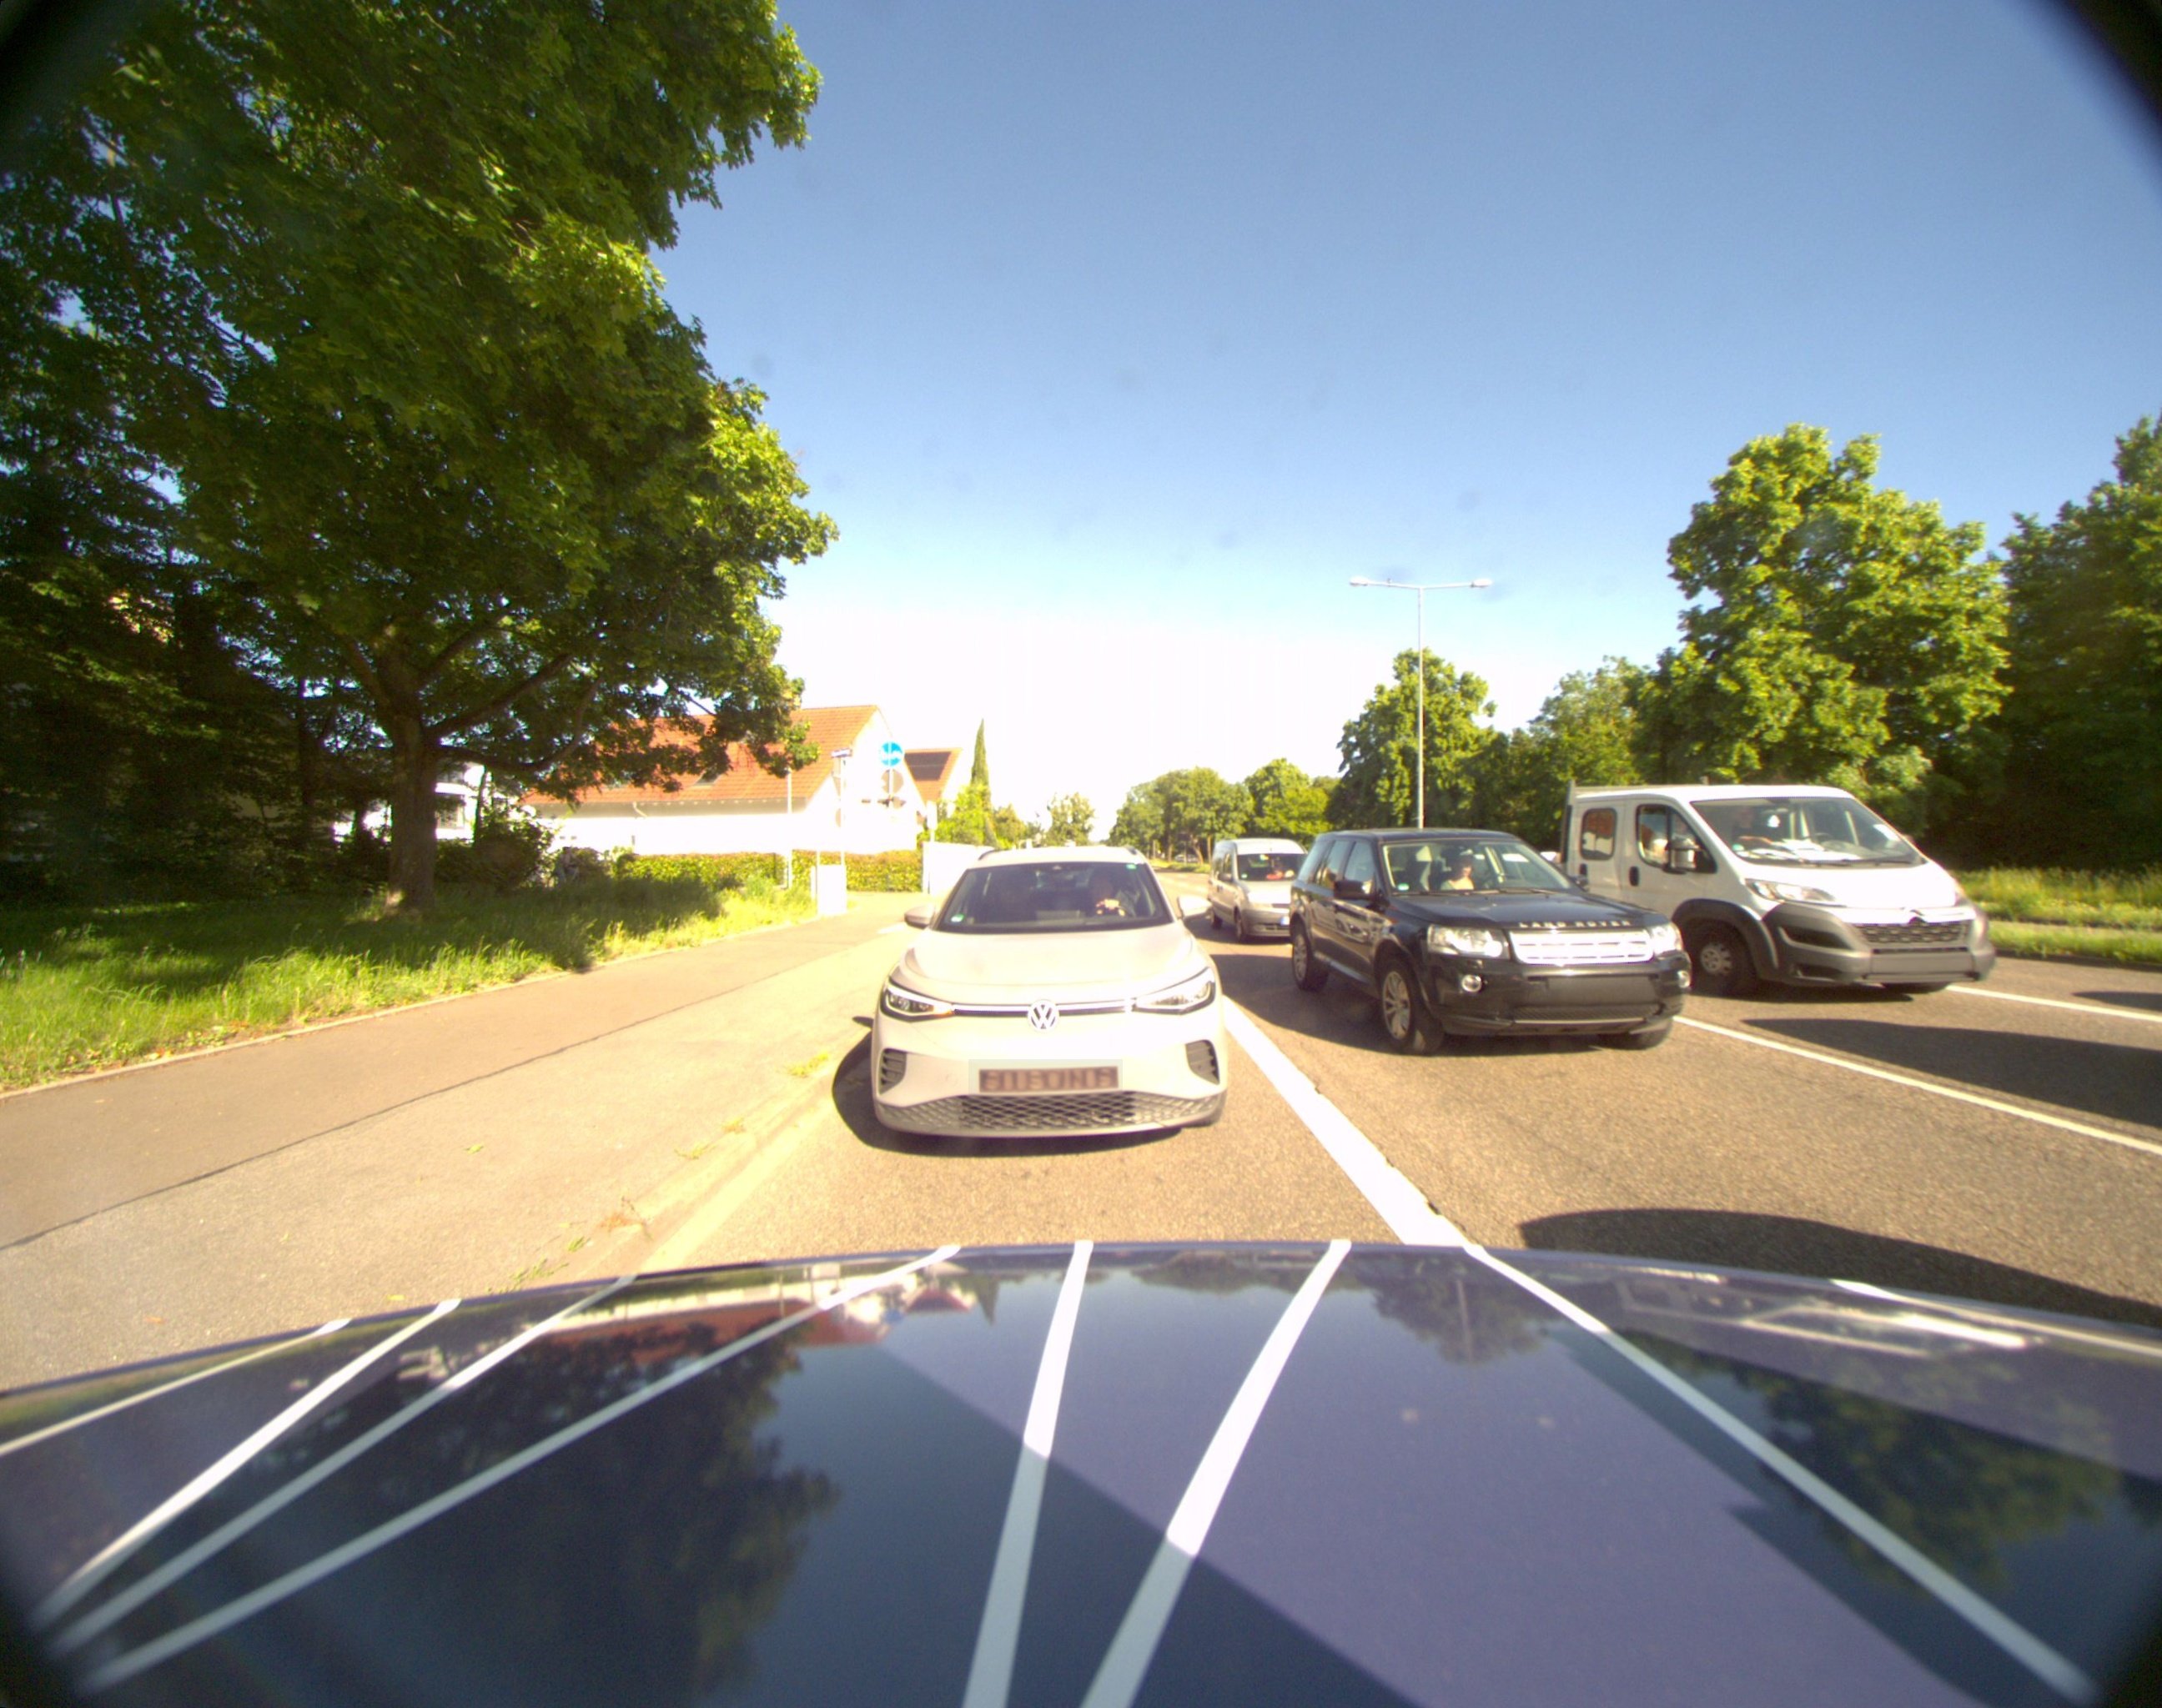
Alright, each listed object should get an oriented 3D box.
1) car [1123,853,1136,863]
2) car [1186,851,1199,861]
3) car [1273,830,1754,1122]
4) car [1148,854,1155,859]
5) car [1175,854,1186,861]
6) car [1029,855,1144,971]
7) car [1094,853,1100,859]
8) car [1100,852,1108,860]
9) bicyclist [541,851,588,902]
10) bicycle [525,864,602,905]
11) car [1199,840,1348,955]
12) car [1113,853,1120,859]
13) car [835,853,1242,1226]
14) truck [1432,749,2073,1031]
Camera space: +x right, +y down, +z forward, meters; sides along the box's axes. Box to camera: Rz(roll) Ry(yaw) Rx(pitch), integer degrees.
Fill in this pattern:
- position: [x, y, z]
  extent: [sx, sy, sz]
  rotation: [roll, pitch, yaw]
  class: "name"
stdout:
- position: [7.585, 0.580, 118.785]
  extent: [1.704, 1.466, 3.931]
  rotation: [-1, 0, 0]
  class: "car"
- position: [20.311, 0.368, 138.405]
  extent: [1.792, 1.674, 4.000]
  rotation: [0, 0, 1]
  class: "car"
- position: [3.168, 0.714, 6.777]
  extent: [1.816, 1.721, 4.386]
  rotation: [-2, 1, 1]
  class: "car"
- position: [22.032, 0.847, 236.378]
  extent: [1.792, 1.409, 4.000]
  rotation: [0, 0, 1]
  class: "car"
- position: [20.442, 0.669, 156.632]
  extent: [1.792, 1.409, 4.000]
  rotation: [0, 0, 1]
  class: "car"
- position: [0.111, 0.864, 13.025]
  extent: [1.632, 1.586, 4.024]
  rotation: [-2, 1, 1]
  class: "car"
- position: [4.410, 0.567, 214.545]
  extent: [1.726, 1.630, 4.000]
  rotation: [0, 0, 1]
  class: "car"
- position: [4.713, 0.391, 157.049]
  extent: [1.704, 1.466, 3.931]
  rotation: [0, 0, 1]
  class: "car"
- position: [-17.352, 0.743, 25.539]
  extent: [0.997, 1.572, 0.580]
  rotation: [7, 1, -8]
  class: "bicyclist"
- position: [-17.389, 1.032, 25.546]
  extent: [1.988, 1.091, 0.580]
  rotation: [8, 1, -8]
  class: "bicycle"
- position: [3.327, 0.653, 13.972]
  extent: [1.632, 1.741, 4.386]
  rotation: [-2, 1, 1]
  class: "car"
- position: [8.886, 0.518, 189.791]
  extent: [1.727, 1.436, 4.000]
  rotation: [0, 0, 0]
  class: "car"
- position: [-0.168, 0.847, 5.582]
  extent: [1.858, 1.679, 4.206]
  rotation: [0, 1, 1]
  class: "car"
- position: [7.215, 0.269, 9.787]
  extent: [2.185, 2.307, 6.842]
  rotation: [-2, 1, 0]
  class: "truck"
